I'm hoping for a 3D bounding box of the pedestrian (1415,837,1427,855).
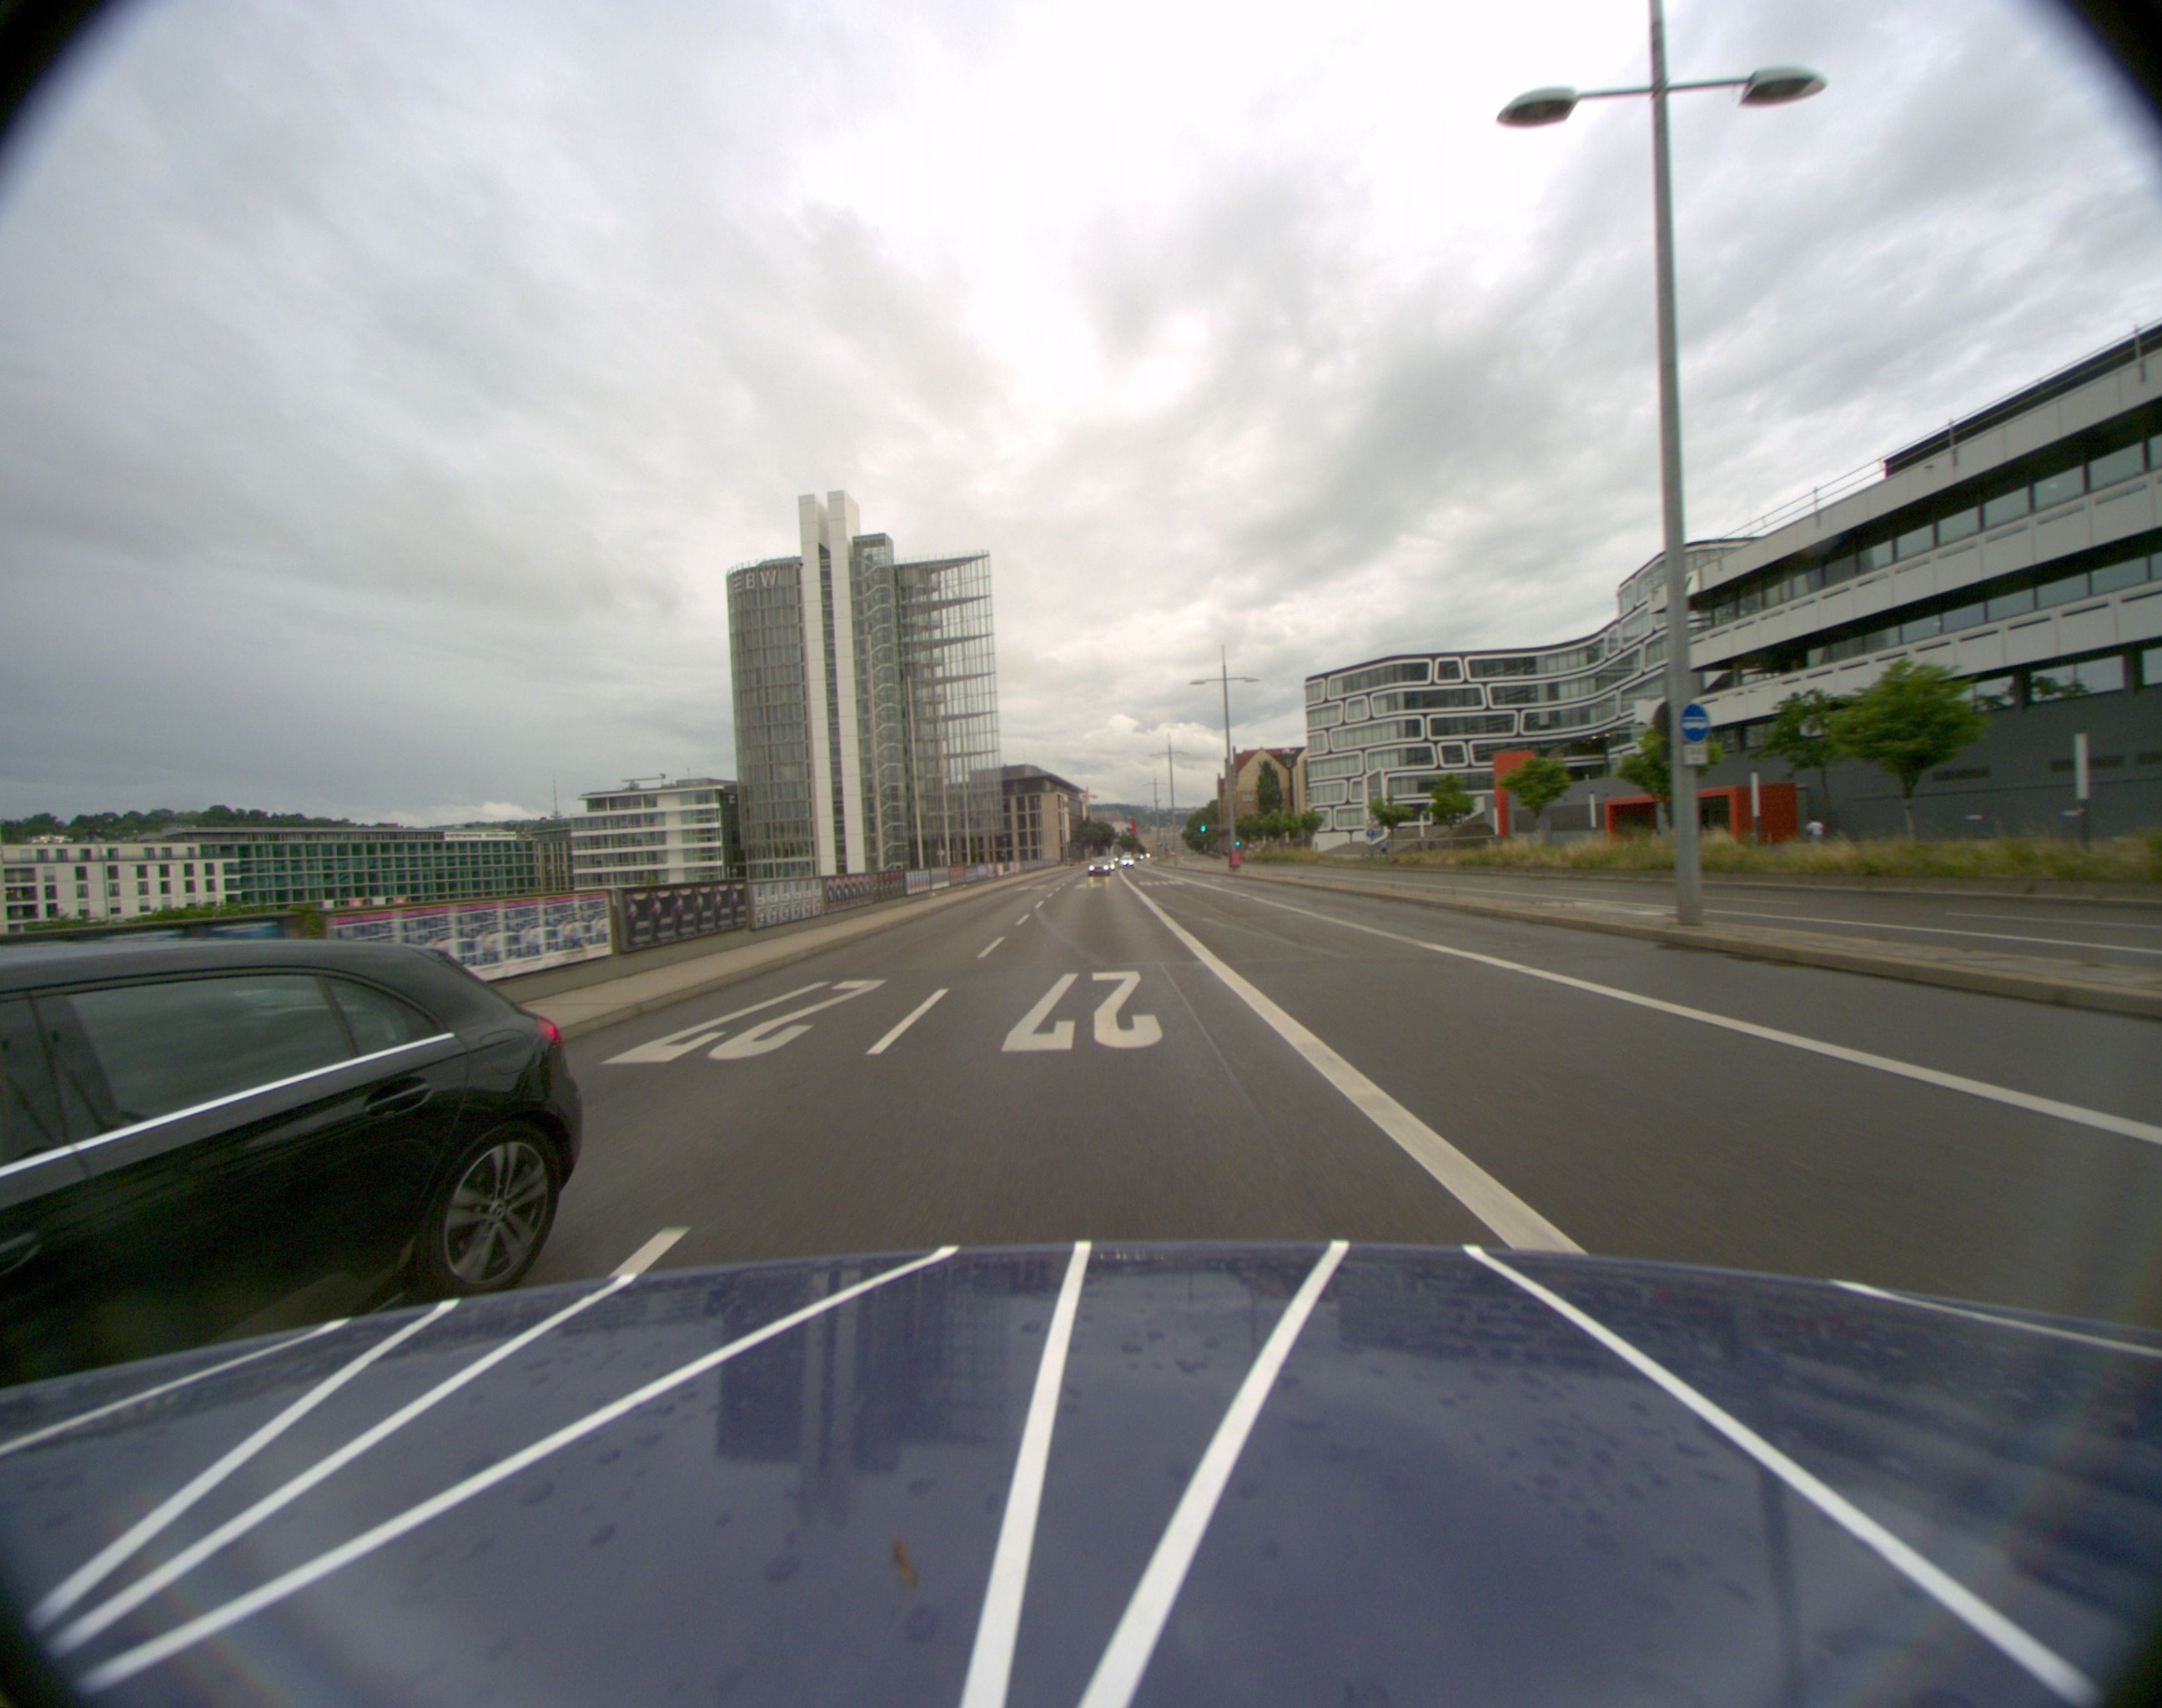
[{"bbox_3d":[29.024,-0.688,64.827,0.619,1.438,0.798,-2,1,3],"label":"pedestrian"}]

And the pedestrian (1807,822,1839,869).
[{"bbox_3d":[29.083,-0.340,29.784,0.631,1.797,0.628,-2,2,2],"label":"pedestrian"}]

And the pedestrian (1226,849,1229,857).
[{"bbox_3d":[31.814,-0.217,164.962,0.677,1.769,0.684,-2,2,8],"label":"pedestrian"}]

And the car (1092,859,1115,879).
[{"bbox_3d":[1.765,1.158,59.778,1.684,1.379,3.476,-2,1,1],"label":"car"}]

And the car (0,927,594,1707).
[{"bbox_3d":[-2.977,1.063,1.143,1.727,1.368,4.154,-2,1,0],"label":"car"}]

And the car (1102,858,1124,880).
[{"bbox_3d":[3.257,1.472,77.685,1.998,2.002,3.999,-2,1,1],"label":"car"}]

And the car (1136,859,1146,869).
[{"bbox_3d":[13.282,2.184,167.883,1.998,2.002,3.999,-2,1,1],"label":"car"}]

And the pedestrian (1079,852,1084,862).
[{"bbox_3d":[0.113,0.474,120.517,0.660,1.601,0.547,-3,0,8],"label":"pedestrian"}]

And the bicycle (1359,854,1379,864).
[{"bbox_3d":[26.086,0.488,68.789,0.610,0.852,1.653,-3,1,-32],"label":"bicycle"}]

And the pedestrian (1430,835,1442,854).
[{"bbox_3d":[30.284,-0.816,64.812,0.619,1.648,0.798,-1,2,3],"label":"pedestrian"}]

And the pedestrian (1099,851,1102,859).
[{"bbox_3d":[3.573,0.191,139.877,0.542,1.519,0.600,-2,2,1],"label":"pedestrian"}]

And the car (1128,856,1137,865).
[{"bbox_3d":[12.611,1.584,187.014,1.998,2.002,3.999,-2,1,1],"label":"car"}]

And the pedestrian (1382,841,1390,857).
[{"bbox_3d":[32.474,-0.520,80.897,0.612,1.602,0.640,-3,1,5],"label":"pedestrian"}]

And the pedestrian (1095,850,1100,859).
[{"bbox_3d":[3.105,0.075,141.147,0.728,1.761,0.783,-2,2,-2],"label":"pedestrian"}]

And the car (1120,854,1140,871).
[{"bbox_3d":[5.886,1.005,90.758,1.969,1.816,3.929,-3,1,7],"label":"car"}]

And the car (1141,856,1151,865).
[{"bbox_3d":[15.665,1.446,182.016,1.998,2.002,3.999,-2,1,1],"label":"car"}]
